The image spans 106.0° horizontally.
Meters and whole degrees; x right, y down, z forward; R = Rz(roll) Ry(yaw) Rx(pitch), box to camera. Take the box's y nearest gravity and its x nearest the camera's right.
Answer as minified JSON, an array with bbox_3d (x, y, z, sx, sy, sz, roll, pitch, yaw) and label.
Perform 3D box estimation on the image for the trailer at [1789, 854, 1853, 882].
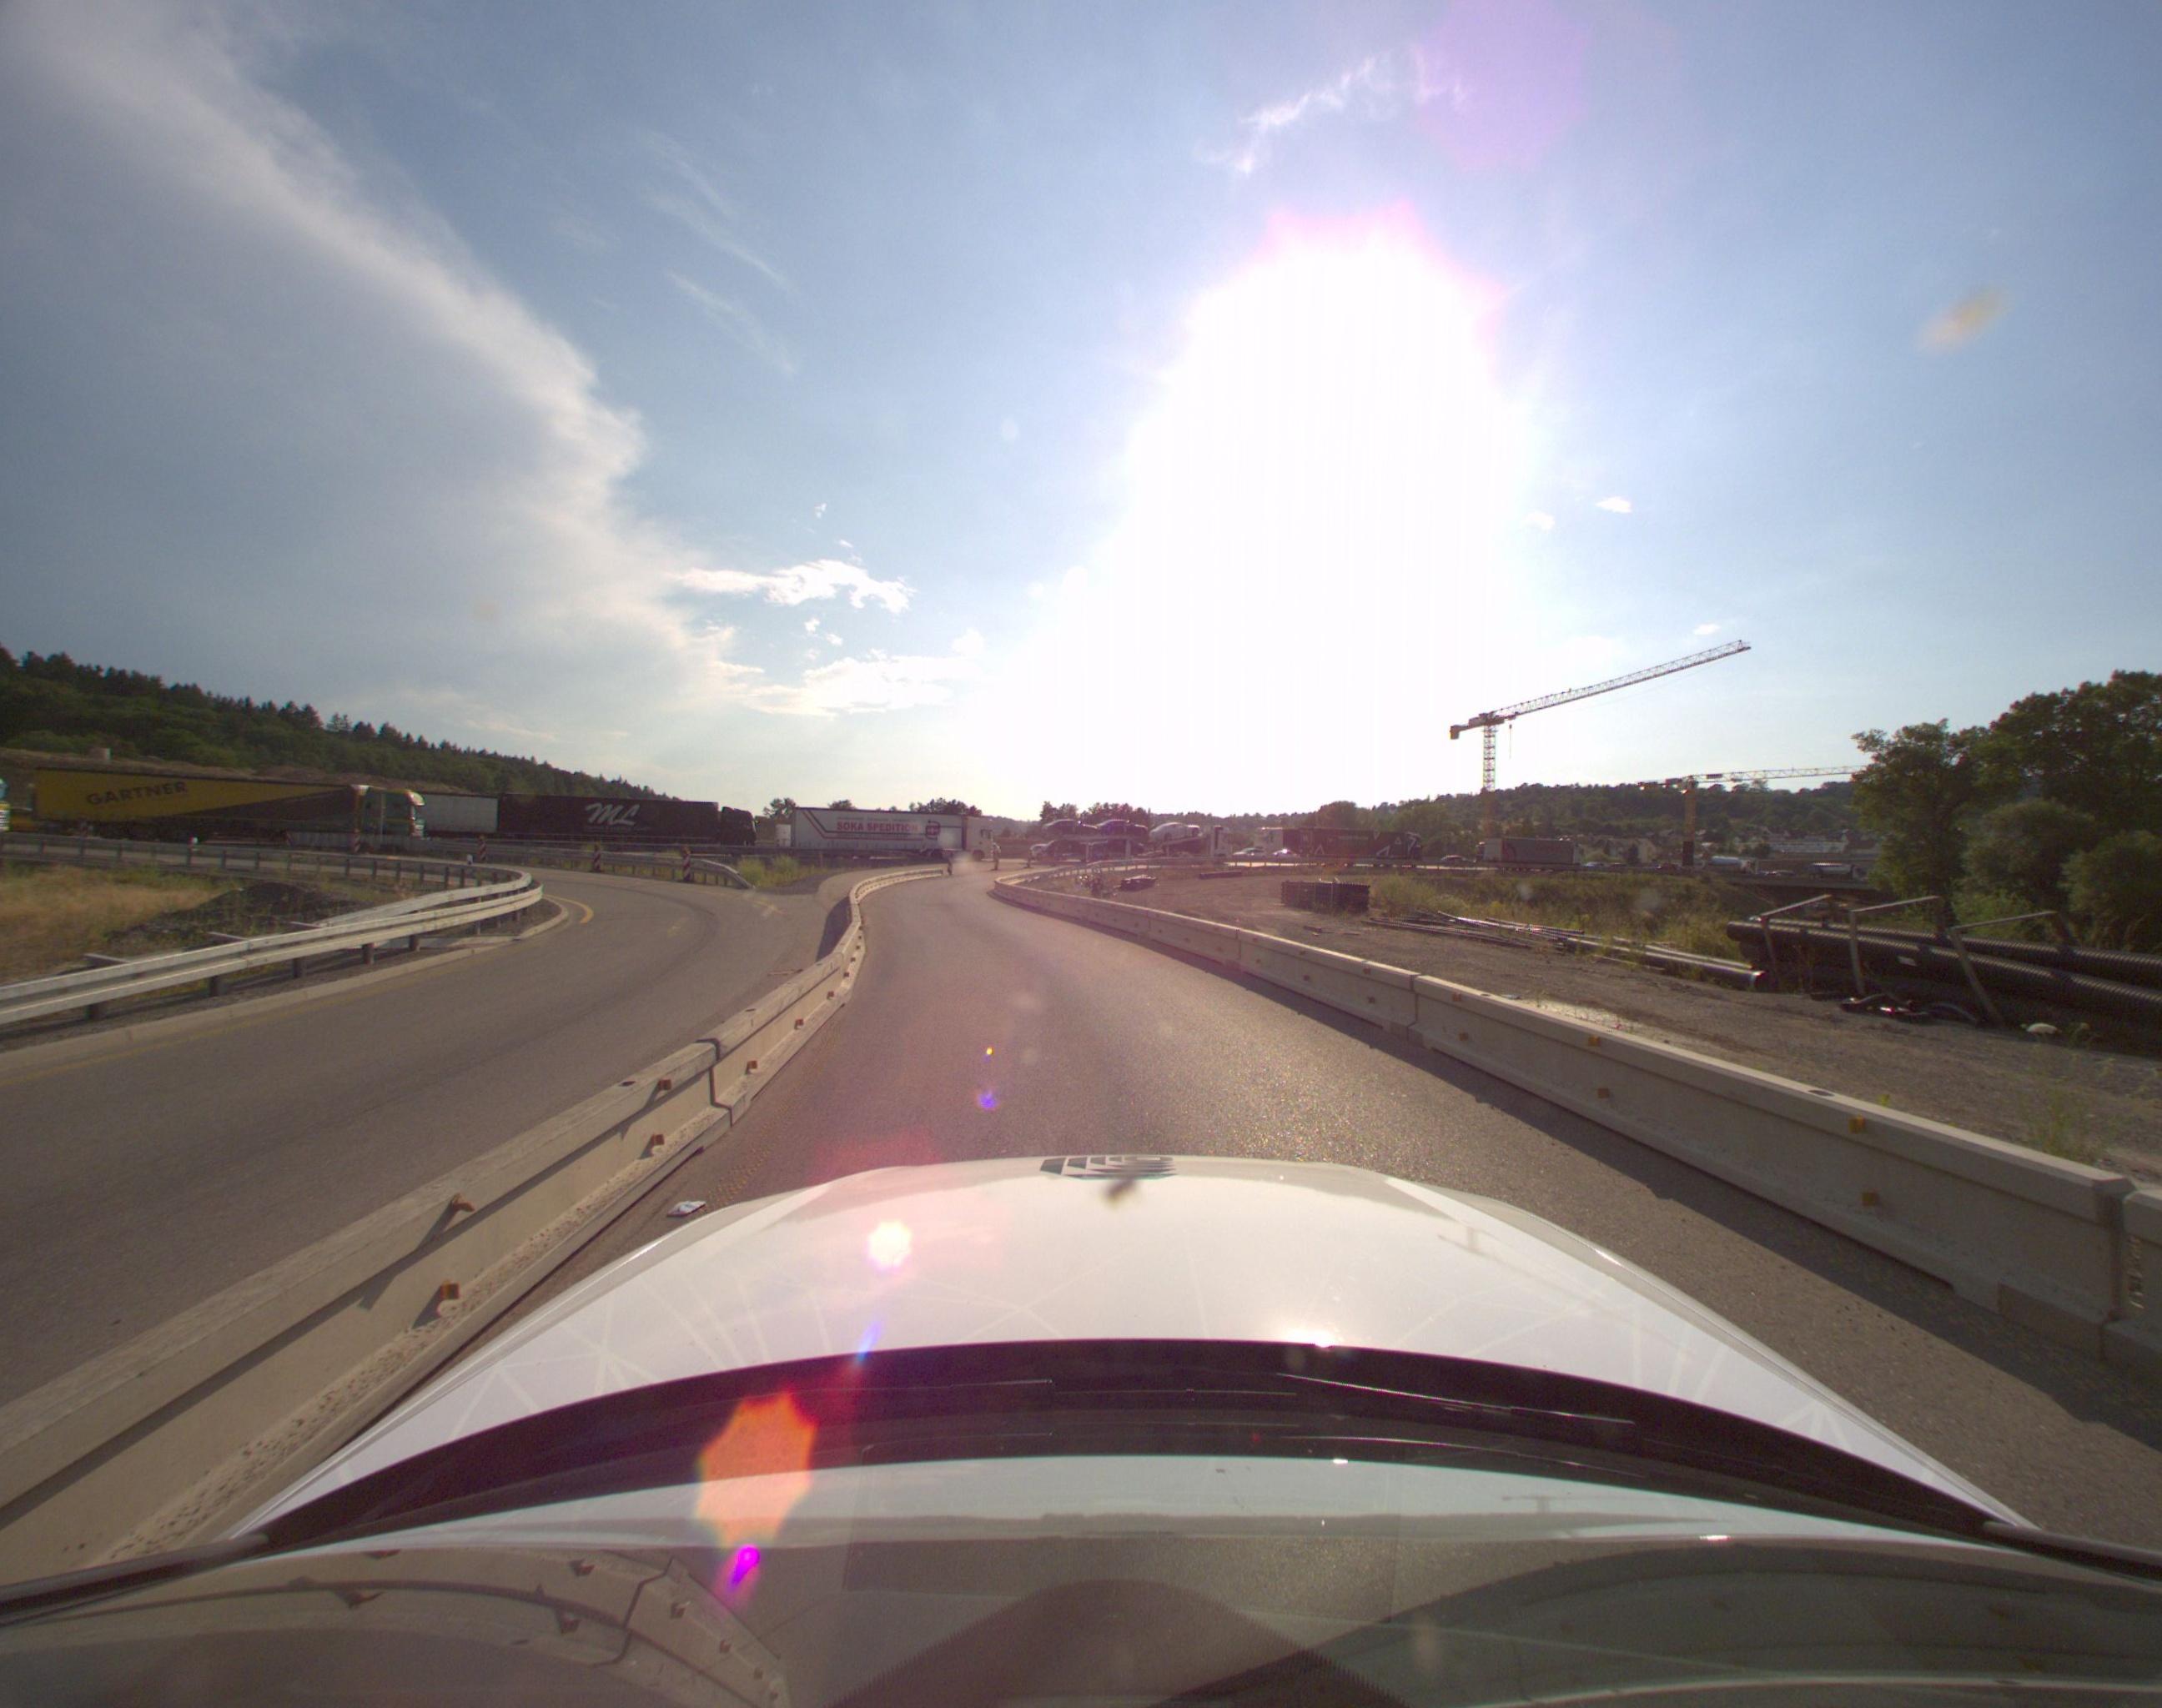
[{"bbox_3d":[125.886,2.372,138.492,14.279,4.314,3.087,2,0,-27],"label":"trailer"}]

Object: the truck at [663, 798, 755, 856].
[{"bbox_3d":[-28.018,-1.964,61.410,6.026,4.060,2.466,2,0,-29],"label":"truck"}]

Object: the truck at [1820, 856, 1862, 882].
[{"bbox_3d":[132.242,2.557,141.701,6.637,4.285,3.082,2,0,-27],"label":"truck"}]

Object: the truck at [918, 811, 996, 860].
[{"bbox_3d":[-10.691,-1.559,70.313,6.023,3.878,2.467,2,0,-27],"label":"truck"}]

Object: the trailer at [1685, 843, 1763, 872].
[{"bbox_3d":[98.441,0.601,124.474,14.773,3.996,3.367,2,0,-27],"label":"trailer"}]

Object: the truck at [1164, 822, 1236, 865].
[{"bbox_3d":[11.939,-1.047,81.519,6.637,3.996,2.833,2,0,-27],"label":"truck"}]

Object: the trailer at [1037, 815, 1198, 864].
[{"bbox_3d":[3.700,-1.285,77.380,15.776,3.996,2.842,2,0,-27],"label":"trailer"}]

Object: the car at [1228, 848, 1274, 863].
[{"bbox_3d":[19.424,0.123,92.985,4.987,1.500,2.019,1,2,-26],"label":"car"}]

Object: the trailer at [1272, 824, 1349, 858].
[{"bbox_3d":[28.531,-1.548,101.110,9.585,3.752,2.991,2,-1,-26],"label":"trailer"}]

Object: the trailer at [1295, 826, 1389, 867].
[{"bbox_3d":[28.852,-0.800,89.896,10.810,4.092,2.944,2,-1,-26],"label":"trailer"}]

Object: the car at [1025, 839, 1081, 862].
[{"bbox_3d":[-2.703,-0.366,78.104,4.987,1.980,2.019,1,2,-26],"label":"car"}]

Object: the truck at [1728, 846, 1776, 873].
[{"bbox_3d":[105.633,0.822,128.138,6.637,3.996,3.372,2,0,-27],"label":"truck"}]

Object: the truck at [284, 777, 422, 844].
[{"bbox_3d":[-46.410,-2.679,52.135,6.022,3.901,2.468,2,0,-26],"label":"truck"}]

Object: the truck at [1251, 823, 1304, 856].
[{"bbox_3d":[23.826,-1.708,98.833,5.698,3.727,2.981,2,-1,-26],"label":"truck"}]

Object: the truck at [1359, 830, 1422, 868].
[{"bbox_3d":[35.345,-0.560,92.989,6.635,3.996,2.871,2,0,-25],"label":"truck"}]

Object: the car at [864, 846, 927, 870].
[{"bbox_3d":[-16.204,0.354,71.191,4.987,1.980,2.019,1,2,-26],"label":"car"}]

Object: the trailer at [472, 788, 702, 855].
[{"bbox_3d":[-34.598,-2.183,57.987,13.659,4.061,2.467,2,0,-27],"label":"trailer"}]

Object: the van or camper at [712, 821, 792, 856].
[{"bbox_3d":[-26.791,-1.270,66.446,5.911,2.619,1.984,2,1,-25],"label":"van or camper"}]

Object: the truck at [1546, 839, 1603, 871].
[{"bbox_3d":[65.344,0.176,107.876,6.637,3.996,3.326,2,0,-27],"label":"truck"}]

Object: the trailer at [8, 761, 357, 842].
[{"bbox_3d":[-53.023,-2.955,48.856,14.001,3.958,2.468,2,0,-26],"label":"trailer"}]

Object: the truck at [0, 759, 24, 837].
[{"bbox_3d":[-63.269,-3.236,43.874,6.908,4.314,3.088,2,-1,-26],"label":"truck"}]

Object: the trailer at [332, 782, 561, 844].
[{"bbox_3d":[-48.397,-3.012,62.868,13.502,3.996,2.842,2,0,-27],"label":"trailer"}]

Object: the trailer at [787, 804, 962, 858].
[{"bbox_3d":[-16.824,-1.796,67.162,13.658,3.878,2.467,2,0,-27],"label":"trailer"}]

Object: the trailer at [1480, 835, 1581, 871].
[{"bbox_3d":[57.438,-0.088,103.845,14.773,3.996,3.367,2,0,-27],"label":"trailer"}]

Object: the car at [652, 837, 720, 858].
[{"bbox_3d":[-32.432,-0.533,67.002,4.987,1.500,2.019,1,2,-26],"label":"car"}]

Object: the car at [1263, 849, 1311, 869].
[{"bbox_3d":[23.092,0.553,91.265,4.987,1.980,2.019,1,2,-26],"label":"car"}]
